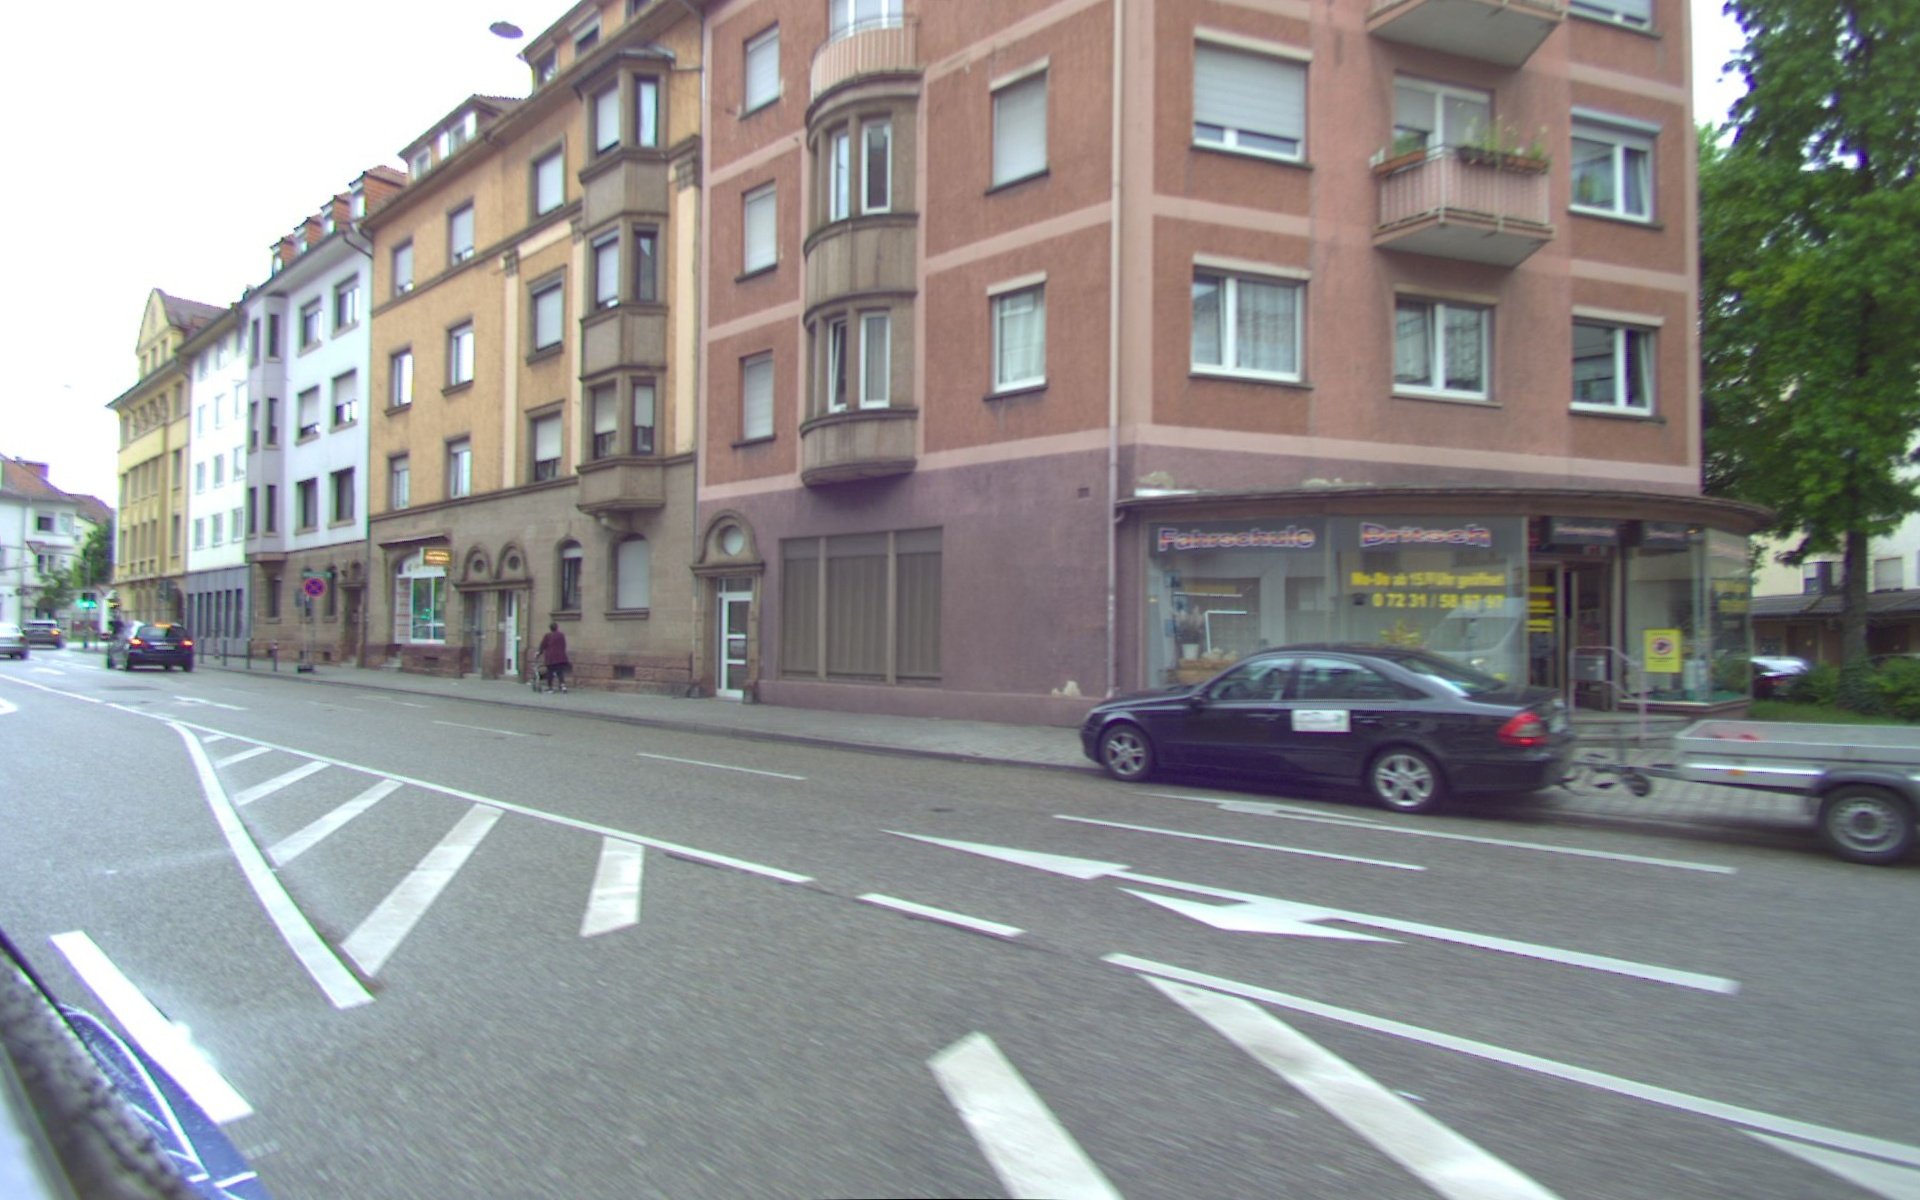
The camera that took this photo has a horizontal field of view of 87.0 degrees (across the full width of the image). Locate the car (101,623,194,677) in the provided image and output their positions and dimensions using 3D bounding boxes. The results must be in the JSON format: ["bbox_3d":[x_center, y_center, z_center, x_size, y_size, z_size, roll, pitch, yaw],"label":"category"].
[{"bbox_3d":[-27.083,1.620,33.692,4.307,1.664,1.735,-1,-3,43],"label":"car"}]

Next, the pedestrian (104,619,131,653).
[{"bbox_3d":[-45.442,1.943,54.569,1.031,1.784,0.884,-1,1,38],"label":"pedestrian"}]

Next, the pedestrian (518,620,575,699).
[{"bbox_3d":[-9.300,1.316,22.758,0.849,1.691,0.837,0,0,28],"label":"pedestrian"}]

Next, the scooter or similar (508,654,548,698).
[{"bbox_3d":[-9.844,1.714,23.051,0.478,0.932,0.708,0,0,27],"label":"scooter or similar"}]

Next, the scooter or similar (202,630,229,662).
[{"bbox_3d":[-30.085,1.853,40.882,1.577,1.222,0.456,-1,2,39],"label":"scooter or similar"}]

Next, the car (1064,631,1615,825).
[{"bbox_3d":[3.552,1.056,10.062,4.788,1.408,1.831,-1,0,40],"label":"car"}]

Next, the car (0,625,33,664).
[{"bbox_3d":[-38.890,1.768,40.583,4.556,1.481,1.923,-1,-3,40],"label":"car"}]

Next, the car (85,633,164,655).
[{"bbox_3d":[-61.782,3.240,74.923,2.011,1.529,4.009,0,-2,22],"label":"car"}]

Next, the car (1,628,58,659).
[{"bbox_3d":[-51.313,2.374,55.791,4.338,1.607,1.959,-1,-3,43],"label":"car"}]

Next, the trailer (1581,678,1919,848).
[{"bbox_3d":[6.480,1.147,7.416,3.055,0.956,1.571,-1,-2,42],"label":"trailer"}]
